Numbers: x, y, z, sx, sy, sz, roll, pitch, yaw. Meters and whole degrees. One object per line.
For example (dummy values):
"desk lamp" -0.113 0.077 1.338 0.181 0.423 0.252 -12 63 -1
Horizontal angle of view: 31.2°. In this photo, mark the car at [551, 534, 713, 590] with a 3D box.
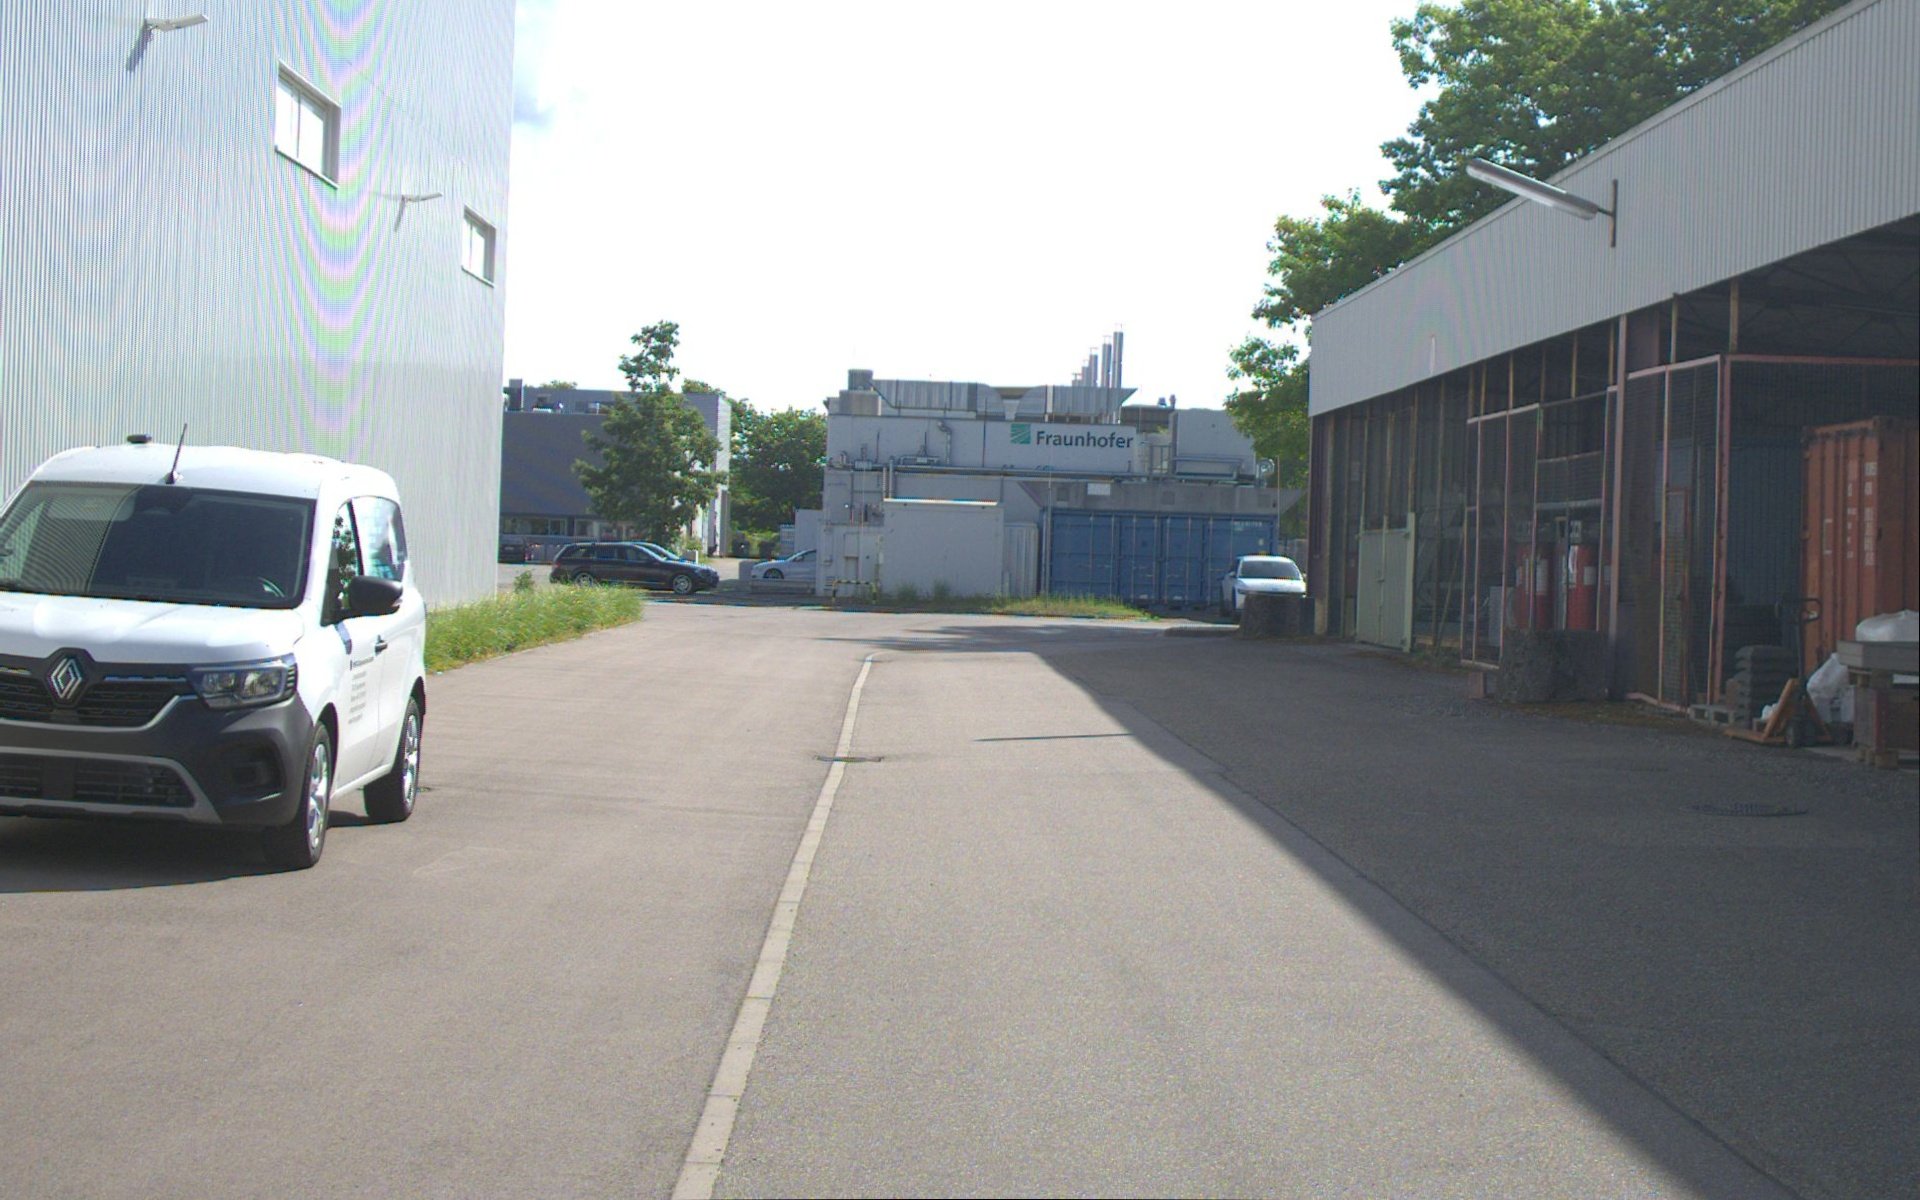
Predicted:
"car" -9.303 -1.088 97.866 4.447 1.526 1.824 1 0 -1

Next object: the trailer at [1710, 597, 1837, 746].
"trailer" 6.367 0.544 26.962 0.551 1.114 1.547 0 0 -3

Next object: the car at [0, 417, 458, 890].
"car" -3.570 0.180 15.956 1.783 1.809 4.602 3 0 -1

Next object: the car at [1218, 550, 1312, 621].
"car" 7.562 -0.386 85.541 1.979 1.597 4.377 1 2 1

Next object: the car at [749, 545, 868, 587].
"car" -5.519 -1.249 125.792 4.302 1.452 1.824 1 0 -1

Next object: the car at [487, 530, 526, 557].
"car" -25.461 -3.172 193.075 1.858 1.489 4.030 0 0 -3
